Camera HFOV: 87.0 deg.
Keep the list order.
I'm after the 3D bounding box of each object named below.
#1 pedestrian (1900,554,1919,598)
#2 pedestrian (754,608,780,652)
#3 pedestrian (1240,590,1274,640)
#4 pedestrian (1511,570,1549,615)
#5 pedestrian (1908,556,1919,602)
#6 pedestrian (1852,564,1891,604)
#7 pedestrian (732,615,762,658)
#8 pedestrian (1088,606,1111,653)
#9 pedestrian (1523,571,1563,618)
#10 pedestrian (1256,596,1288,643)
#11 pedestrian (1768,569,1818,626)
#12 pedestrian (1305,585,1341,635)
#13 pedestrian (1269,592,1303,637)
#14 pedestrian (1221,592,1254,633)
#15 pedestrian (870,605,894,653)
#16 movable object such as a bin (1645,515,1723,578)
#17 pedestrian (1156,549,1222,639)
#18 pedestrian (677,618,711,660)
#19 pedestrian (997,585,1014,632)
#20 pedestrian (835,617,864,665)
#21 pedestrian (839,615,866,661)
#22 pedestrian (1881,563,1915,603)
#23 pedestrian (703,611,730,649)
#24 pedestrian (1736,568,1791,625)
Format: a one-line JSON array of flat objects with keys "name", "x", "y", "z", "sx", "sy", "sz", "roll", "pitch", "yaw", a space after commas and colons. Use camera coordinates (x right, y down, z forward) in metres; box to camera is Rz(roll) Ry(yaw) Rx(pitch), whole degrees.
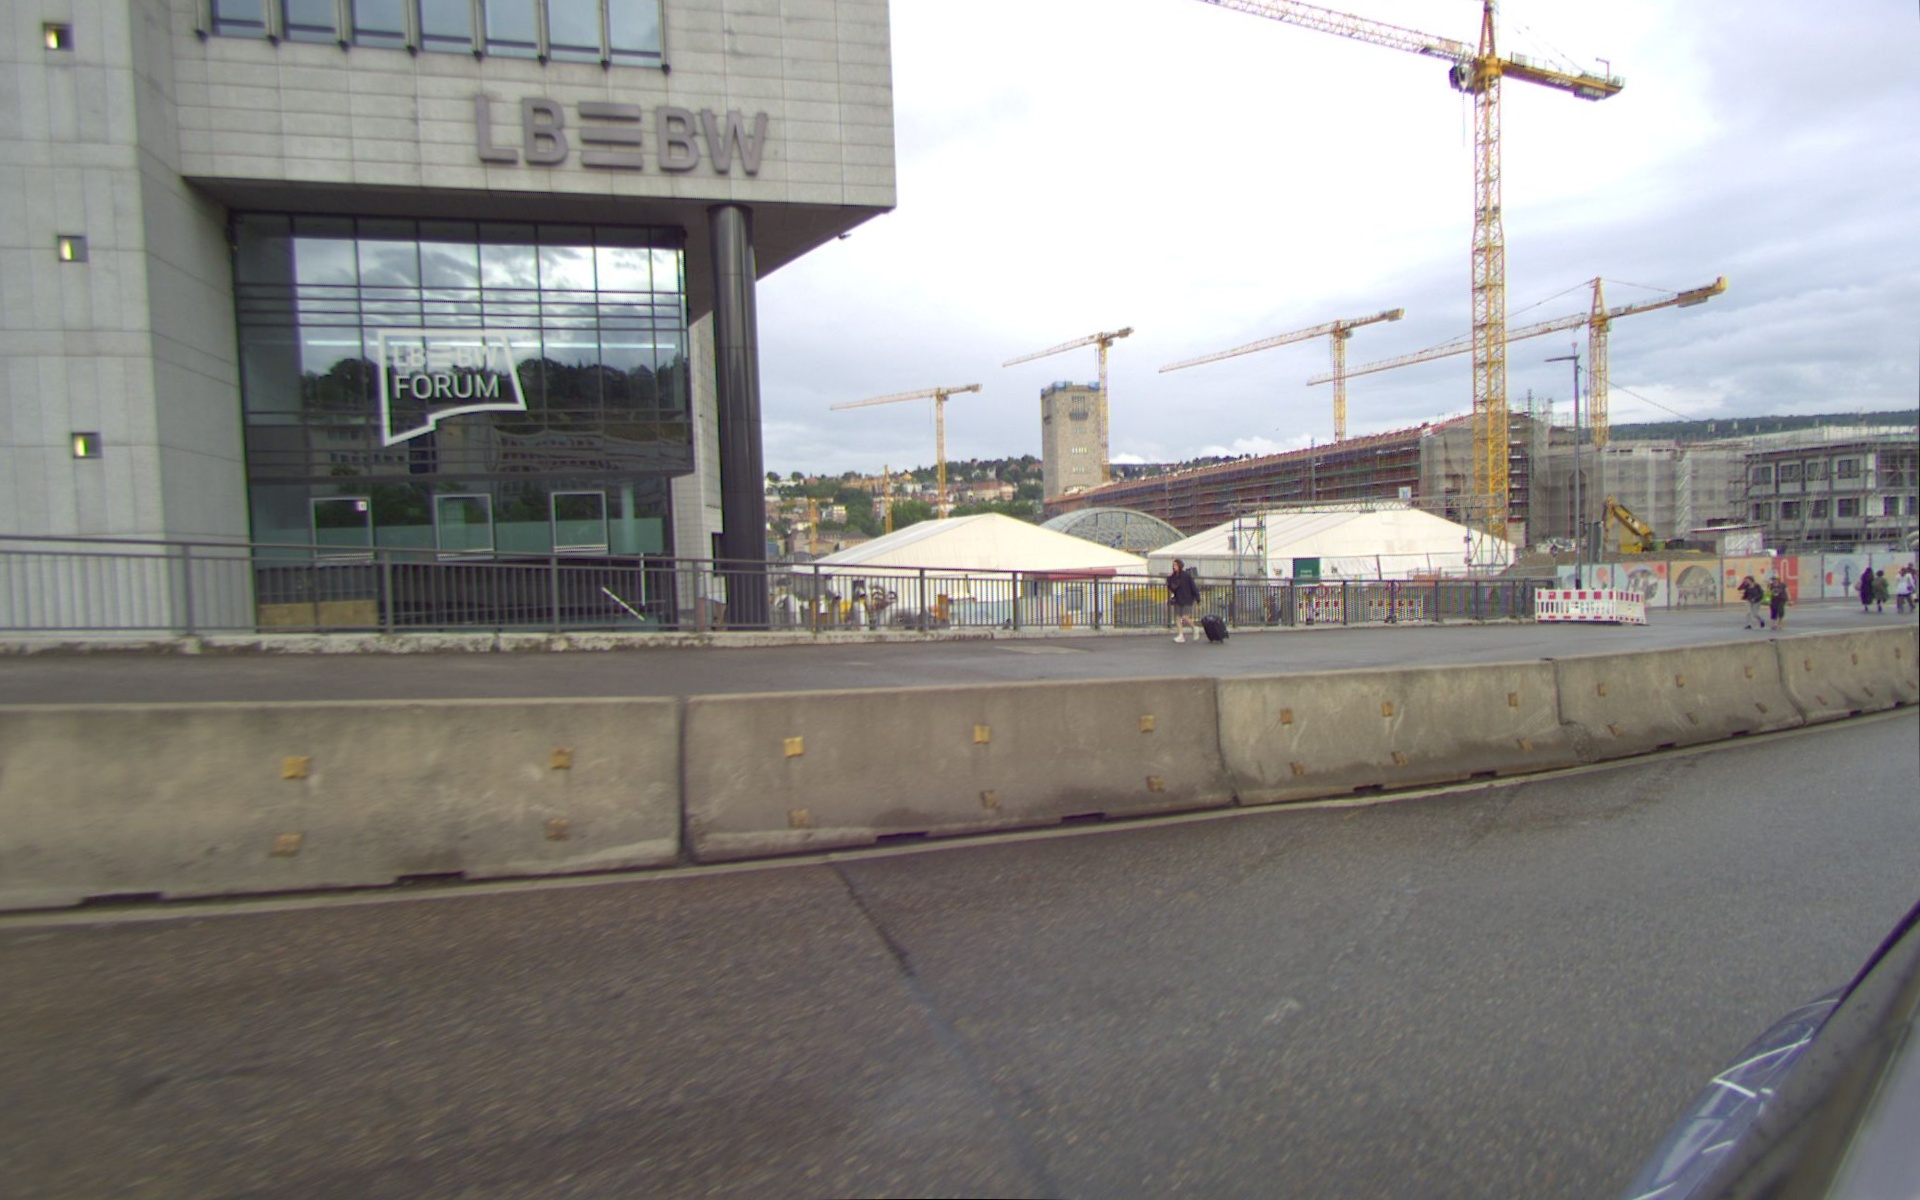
[{"name": "pedestrian", "x": 40.668, "y": -1.031, "z": 42.848, "sx": 0.987, "sy": 1.840, "sz": 0.871, "roll": -2, "pitch": 2, "yaw": -14}, {"name": "pedestrian", "x": -7.628, "y": 1.171, "z": 40.059, "sx": 0.647, "sy": 1.656, "sz": 0.735, "roll": 0, "pitch": 2, "yaw": 26}, {"name": "pedestrian", "x": 11.176, "y": 0.567, "z": 38.064, "sx": 0.988, "sy": 1.805, "sz": 0.774, "roll": -2, "pitch": 2, "yaw": -4}, {"name": "pedestrian", "x": 22.564, "y": -0.308, "z": 40.099, "sx": 0.988, "sy": 1.709, "sz": 0.870, "roll": -2, "pitch": 2, "yaw": -4}, {"name": "pedestrian", "x": 37.420, "y": -0.826, "z": 39.100, "sx": 0.872, "sy": 1.743, "sz": 0.782, "roll": -2, "pitch": 2, "yaw": -14}, {"name": "pedestrian", "x": 36.363, "y": -0.645, "z": 40.387, "sx": 0.987, "sy": 1.572, "sz": 0.718, "roll": -2, "pitch": 2, "yaw": -14}, {"name": "pedestrian", "x": -8.835, "y": 1.513, "z": 42.034, "sx": 0.989, "sy": 1.656, "sz": 0.869, "roll": -1, "pitch": 2, "yaw": 1}, {"name": "pedestrian", "x": 5.083, "y": 1.079, "z": 36.856, "sx": 0.741, "sy": 1.656, "sz": 0.585, "roll": -1, "pitch": 2, "yaw": 15}, {"name": "pedestrian", "x": 22.486, "y": -0.239, "z": 39.042, "sx": 0.988, "sy": 1.746, "sz": 0.870, "roll": -2, "pitch": 2, "yaw": -4}, {"name": "pedestrian", "x": 11.433, "y": 0.695, "z": 37.119, "sx": 0.898, "sy": 1.656, "sz": 0.701, "roll": -2, "pitch": 2, "yaw": -4}, {"name": "pedestrian", "x": 23.840, "y": -0.081, "z": 28.968, "sx": 0.789, "sy": 1.594, "sz": 0.735, "roll": -2, "pitch": 1, "yaw": -6}, {"name": "pedestrian", "x": 13.595, "y": 0.358, "z": 37.928, "sx": 0.988, "sy": 1.803, "sz": 0.870, "roll": -2, "pitch": 2, "yaw": -4}, {"name": "pedestrian", "x": 12.500, "y": 0.534, "z": 38.820, "sx": 0.988, "sy": 1.656, "sz": 0.870, "roll": -2, "pitch": 2, "yaw": -4}, {"name": "pedestrian", "x": 11.172, "y": 0.506, "z": 40.782, "sx": 0.988, "sy": 1.572, "sz": 0.870, "roll": -2, "pitch": 2, "yaw": -4}, {"name": "pedestrian", "x": -3.086, "y": 1.134, "z": 40.205, "sx": 0.635, "sy": 1.837, "sz": 0.750, "roll": 0, "pitch": 2, "yaw": 26}, {"name": "movable object such as a bin", "x": 41.738, "y": -3.102, "z": 58.354, "sx": 4.145, "sy": 3.450, "sz": 1.947, "roll": -3, "pitch": 3, "yaw": -26}, {"name": "pedestrian", "x": 4.376, "y": -0.130, "z": 19.364, "sx": 1.039, "sy": 1.672, "sz": 0.733, "roll": -1, "pitch": 2, "yaw": -6}, {"name": "pedestrian", "x": -10.913, "y": 1.597, "z": 41.517, "sx": 0.994, "sy": 1.656, "sz": 0.865, "roll": -1, "pitch": 2, "yaw": 16}, {"name": "pedestrian", "x": 1.634, "y": 0.289, "z": 36.500, "sx": 0.555, "sy": 1.635, "sz": 0.706, "roll": -1, "pitch": 2, "yaw": -1}, {"name": "pedestrian", "x": -4.099, "y": 1.511, "z": 37.634, "sx": 0.988, "sy": 1.656, "sz": 0.870, "roll": -2, "pitch": 2, "yaw": -4}, {"name": "pedestrian", "x": -4.107, "y": 1.450, "z": 38.720, "sx": 0.988, "sy": 1.656, "sz": 0.870, "roll": -2, "pitch": 2, "yaw": -4}, {"name": "pedestrian", "x": 36.870, "y": -0.682, "z": 39.780, "sx": 0.867, "sy": 1.541, "sz": 0.612, "roll": -2, "pitch": 2, "yaw": -14}, {"name": "pedestrian", "x": -11.198, "y": 1.352, "z": 46.555, "sx": 0.853, "sy": 1.656, "sz": 1.008, "roll": -3, "pitch": 3, "yaw": -36}, {"name": "pedestrian", "x": 23.583, "y": -0.113, "z": 29.714, "sx": 0.933, "sy": 1.612, "sz": 0.864, "roll": -2, "pitch": 2, "yaw": -6}]
